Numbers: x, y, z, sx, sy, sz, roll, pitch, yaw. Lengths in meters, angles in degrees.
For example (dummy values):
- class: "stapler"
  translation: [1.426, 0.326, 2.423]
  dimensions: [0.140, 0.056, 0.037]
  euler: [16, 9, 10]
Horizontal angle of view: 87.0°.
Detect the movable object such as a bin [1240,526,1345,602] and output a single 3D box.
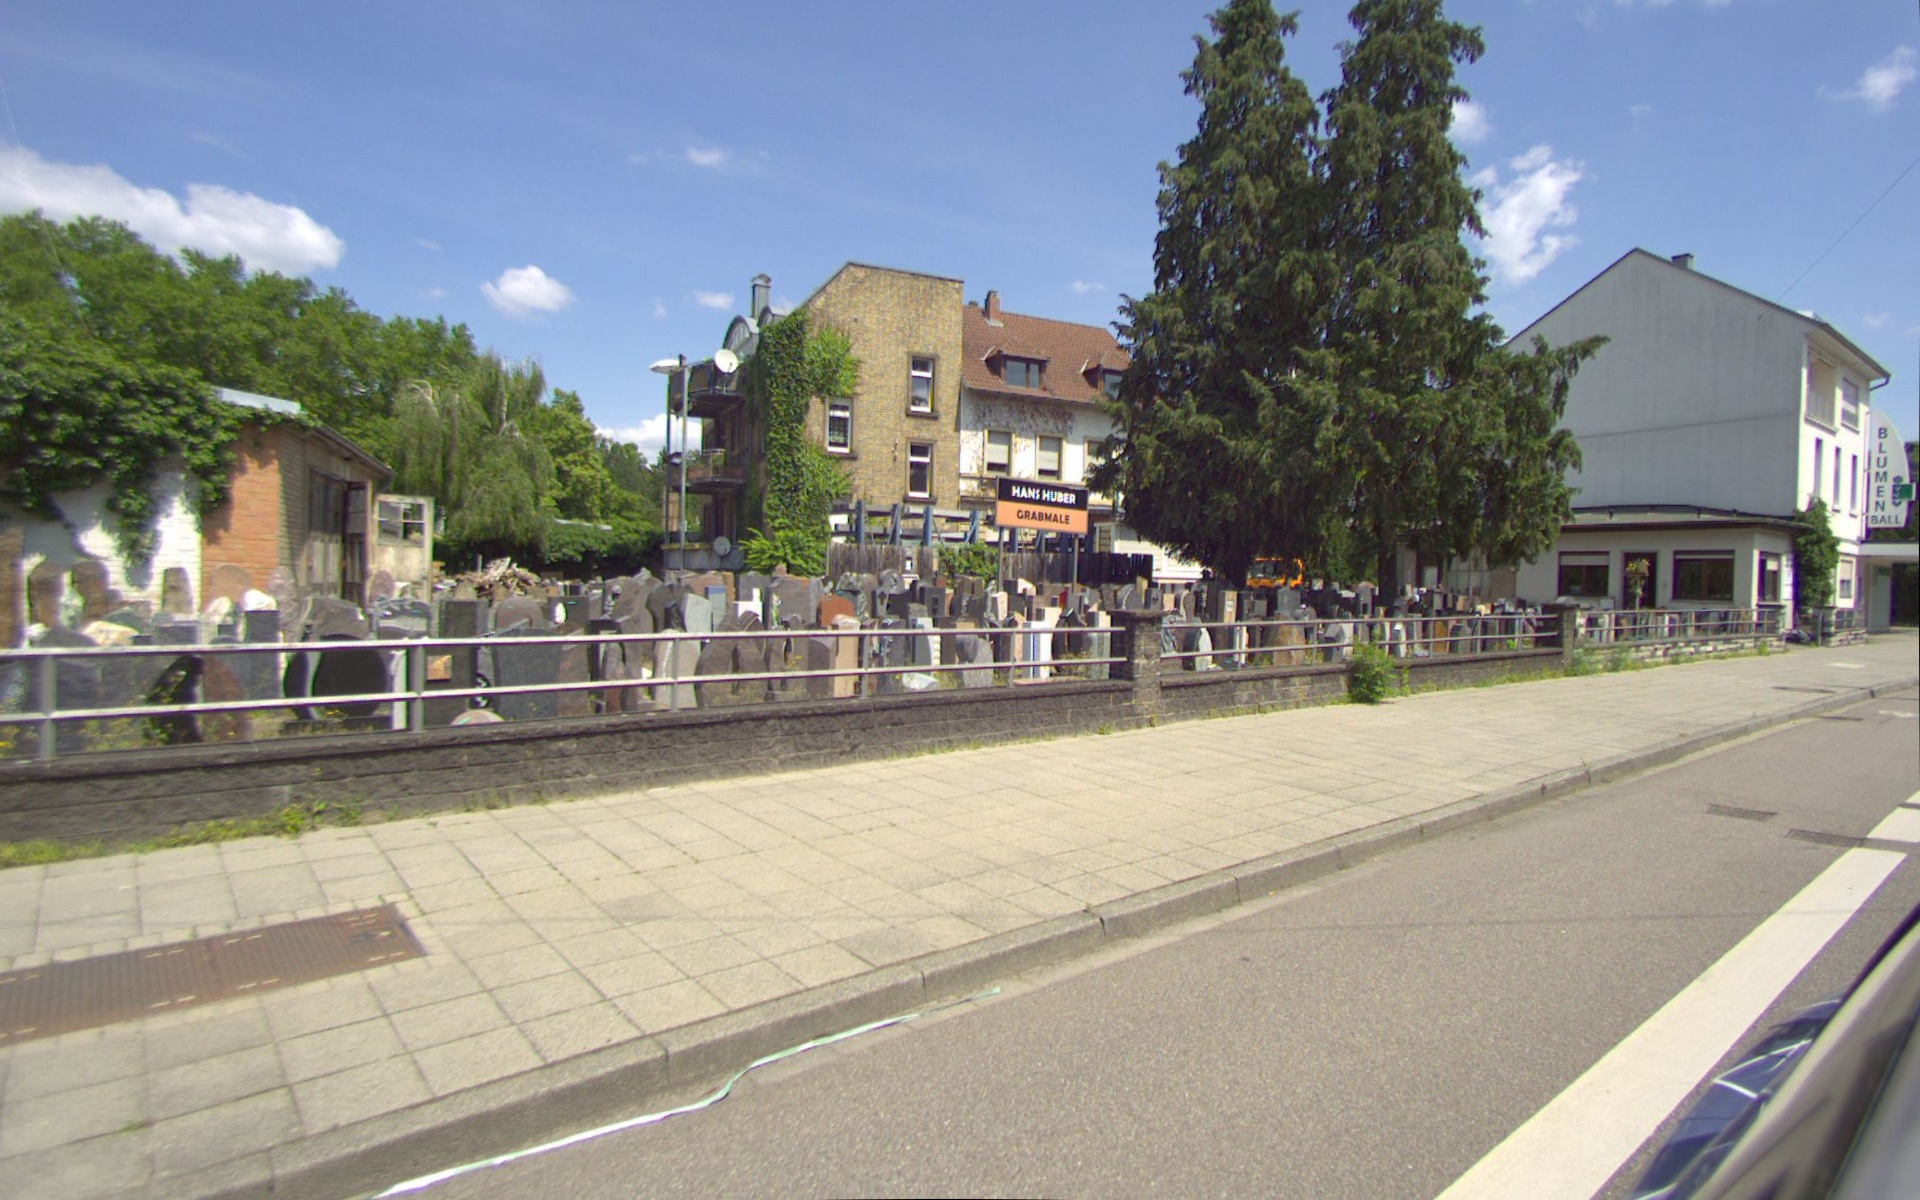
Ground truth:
- class: "movable object such as a bin"
  translation: [12.260, -1.315, 37.218]
  dimensions: [3.738, 2.650, 1.745]
  euler: [0, 4, -37]
